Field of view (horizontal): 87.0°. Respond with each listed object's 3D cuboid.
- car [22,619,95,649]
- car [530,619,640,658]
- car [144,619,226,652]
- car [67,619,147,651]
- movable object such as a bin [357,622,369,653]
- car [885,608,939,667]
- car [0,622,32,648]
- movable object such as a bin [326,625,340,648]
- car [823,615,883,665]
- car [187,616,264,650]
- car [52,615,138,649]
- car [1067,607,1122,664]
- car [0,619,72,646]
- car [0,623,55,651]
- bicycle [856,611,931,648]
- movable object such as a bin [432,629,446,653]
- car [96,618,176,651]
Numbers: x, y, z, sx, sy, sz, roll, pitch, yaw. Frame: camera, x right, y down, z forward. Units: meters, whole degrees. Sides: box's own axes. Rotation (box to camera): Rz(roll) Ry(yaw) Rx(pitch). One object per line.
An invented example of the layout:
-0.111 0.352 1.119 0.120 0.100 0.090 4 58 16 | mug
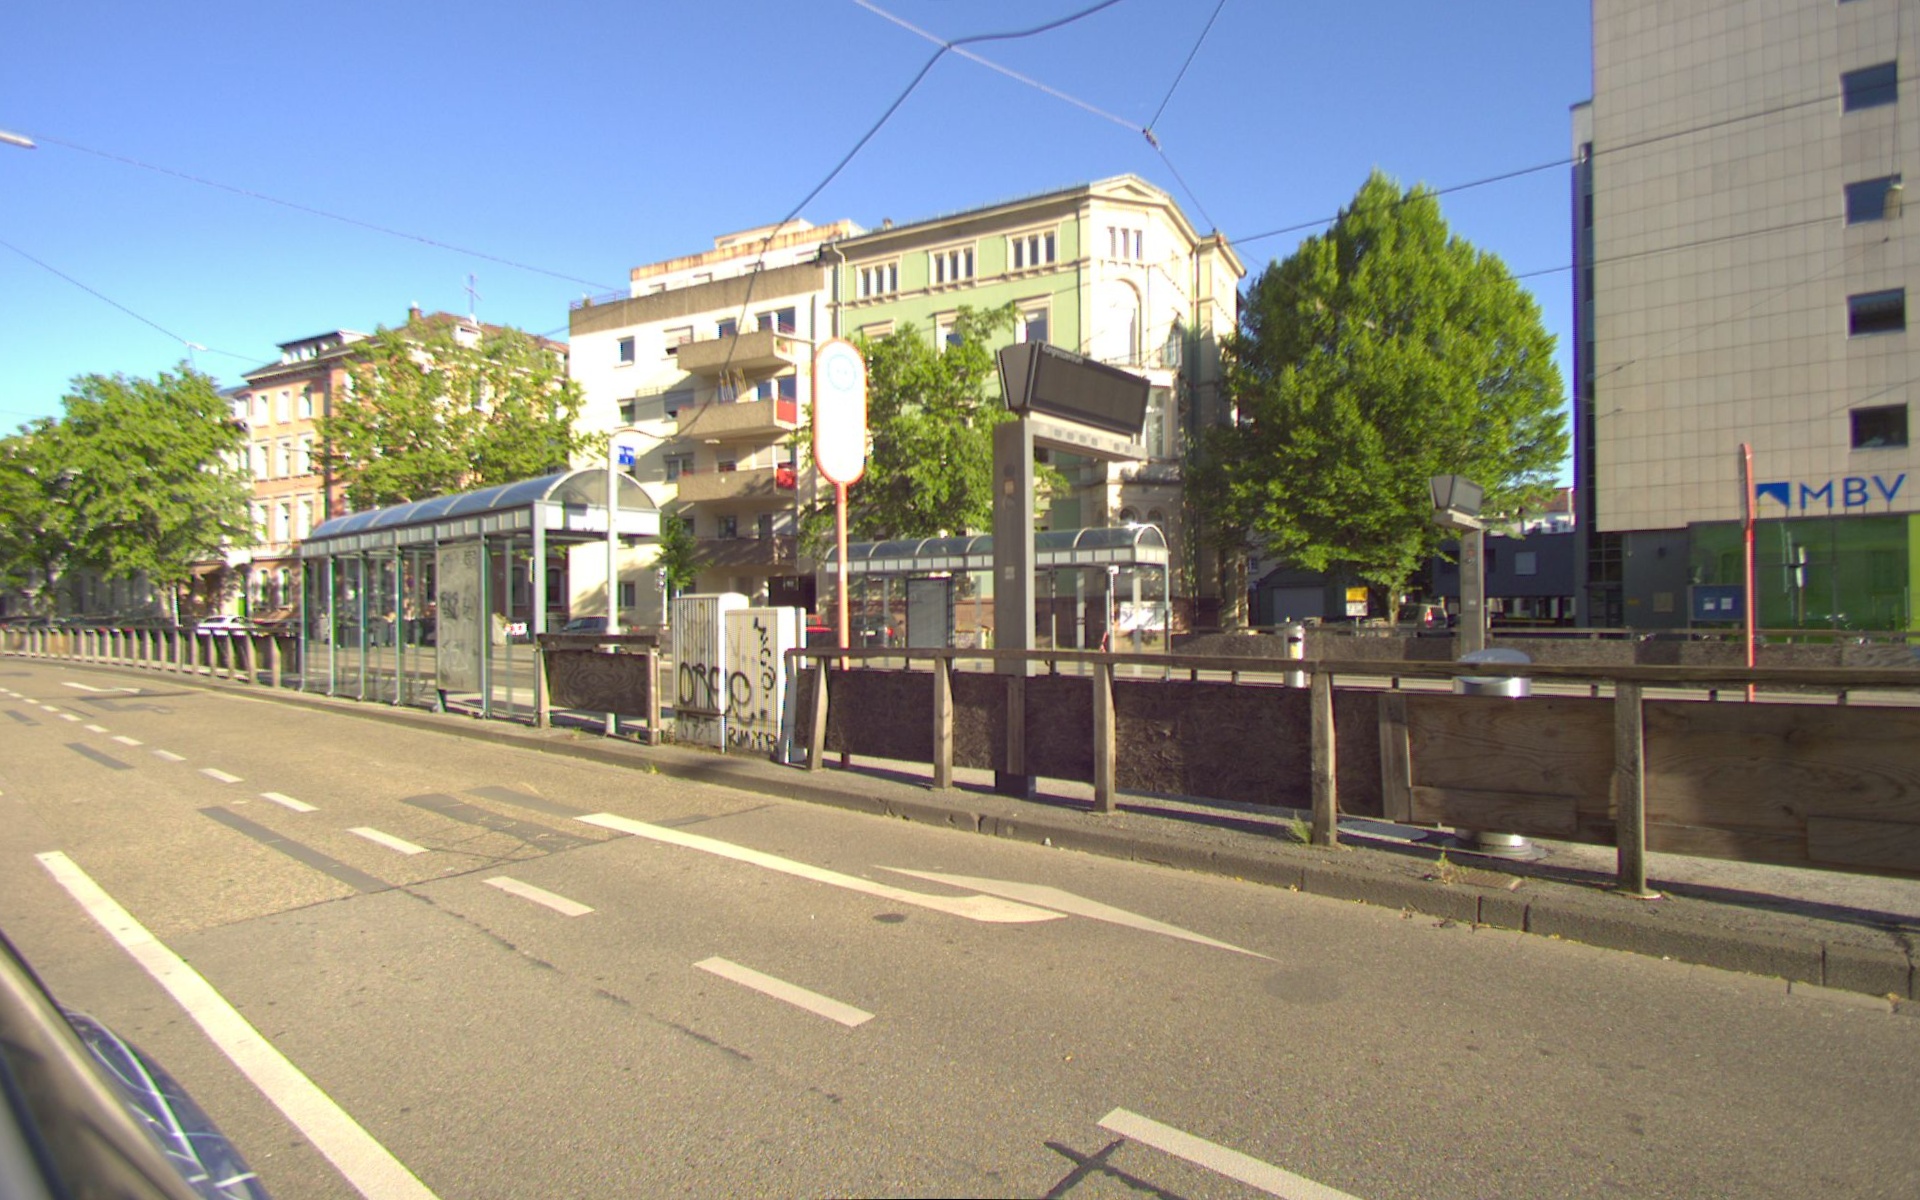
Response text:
-55.568 2.077 62.445 1.682 1.544 3.284 -2 2 -3 | car
-14.349 1.433 38.649 4.278 1.421 1.693 -1 -1 32 | car
-42.391 1.921 55.466 1.664 1.519 3.926 -2 1 -3 | car
-49.446 1.987 58.766 1.609 1.629 3.993 -2 1 -7 | car
-28.485 1.780 48.255 0.385 1.437 0.375 -1 -1 40 | movable object such as a bin
-1.591 1.140 32.356 1.566 1.654 4.521 0 1 -5 | car
-63.919 2.342 66.840 1.748 1.666 3.872 -1 1 -1 | car
-29.879 1.737 48.215 0.639 1.076 0.375 -1 -1 40 | movable object such as a bin
-3.492 1.273 33.617 1.845 1.436 4.520 0 1 -5 | car
-39.428 1.756 54.425 1.708 1.533 3.924 -2 1 -9 | car
-51.870 1.878 60.812 1.682 1.735 4.291 0 2 -4 | car
4.225 1.044 31.667 1.572 1.581 4.504 0 1 8 | car
-58.280 2.031 63.525 1.745 1.496 3.823 -1 1 -1 | car
-60.893 2.359 65.220 1.748 1.666 3.871 -1 1 -1 | car
-2.622 1.153 39.495 2.995 1.409 0.713 -1 -1 27 | bicycle
-24.992 1.955 48.520 0.551 1.105 0.376 0 0 34 | movable object such as a bin
-46.862 1.940 57.650 1.609 1.629 3.993 -2 1 -7 | car
